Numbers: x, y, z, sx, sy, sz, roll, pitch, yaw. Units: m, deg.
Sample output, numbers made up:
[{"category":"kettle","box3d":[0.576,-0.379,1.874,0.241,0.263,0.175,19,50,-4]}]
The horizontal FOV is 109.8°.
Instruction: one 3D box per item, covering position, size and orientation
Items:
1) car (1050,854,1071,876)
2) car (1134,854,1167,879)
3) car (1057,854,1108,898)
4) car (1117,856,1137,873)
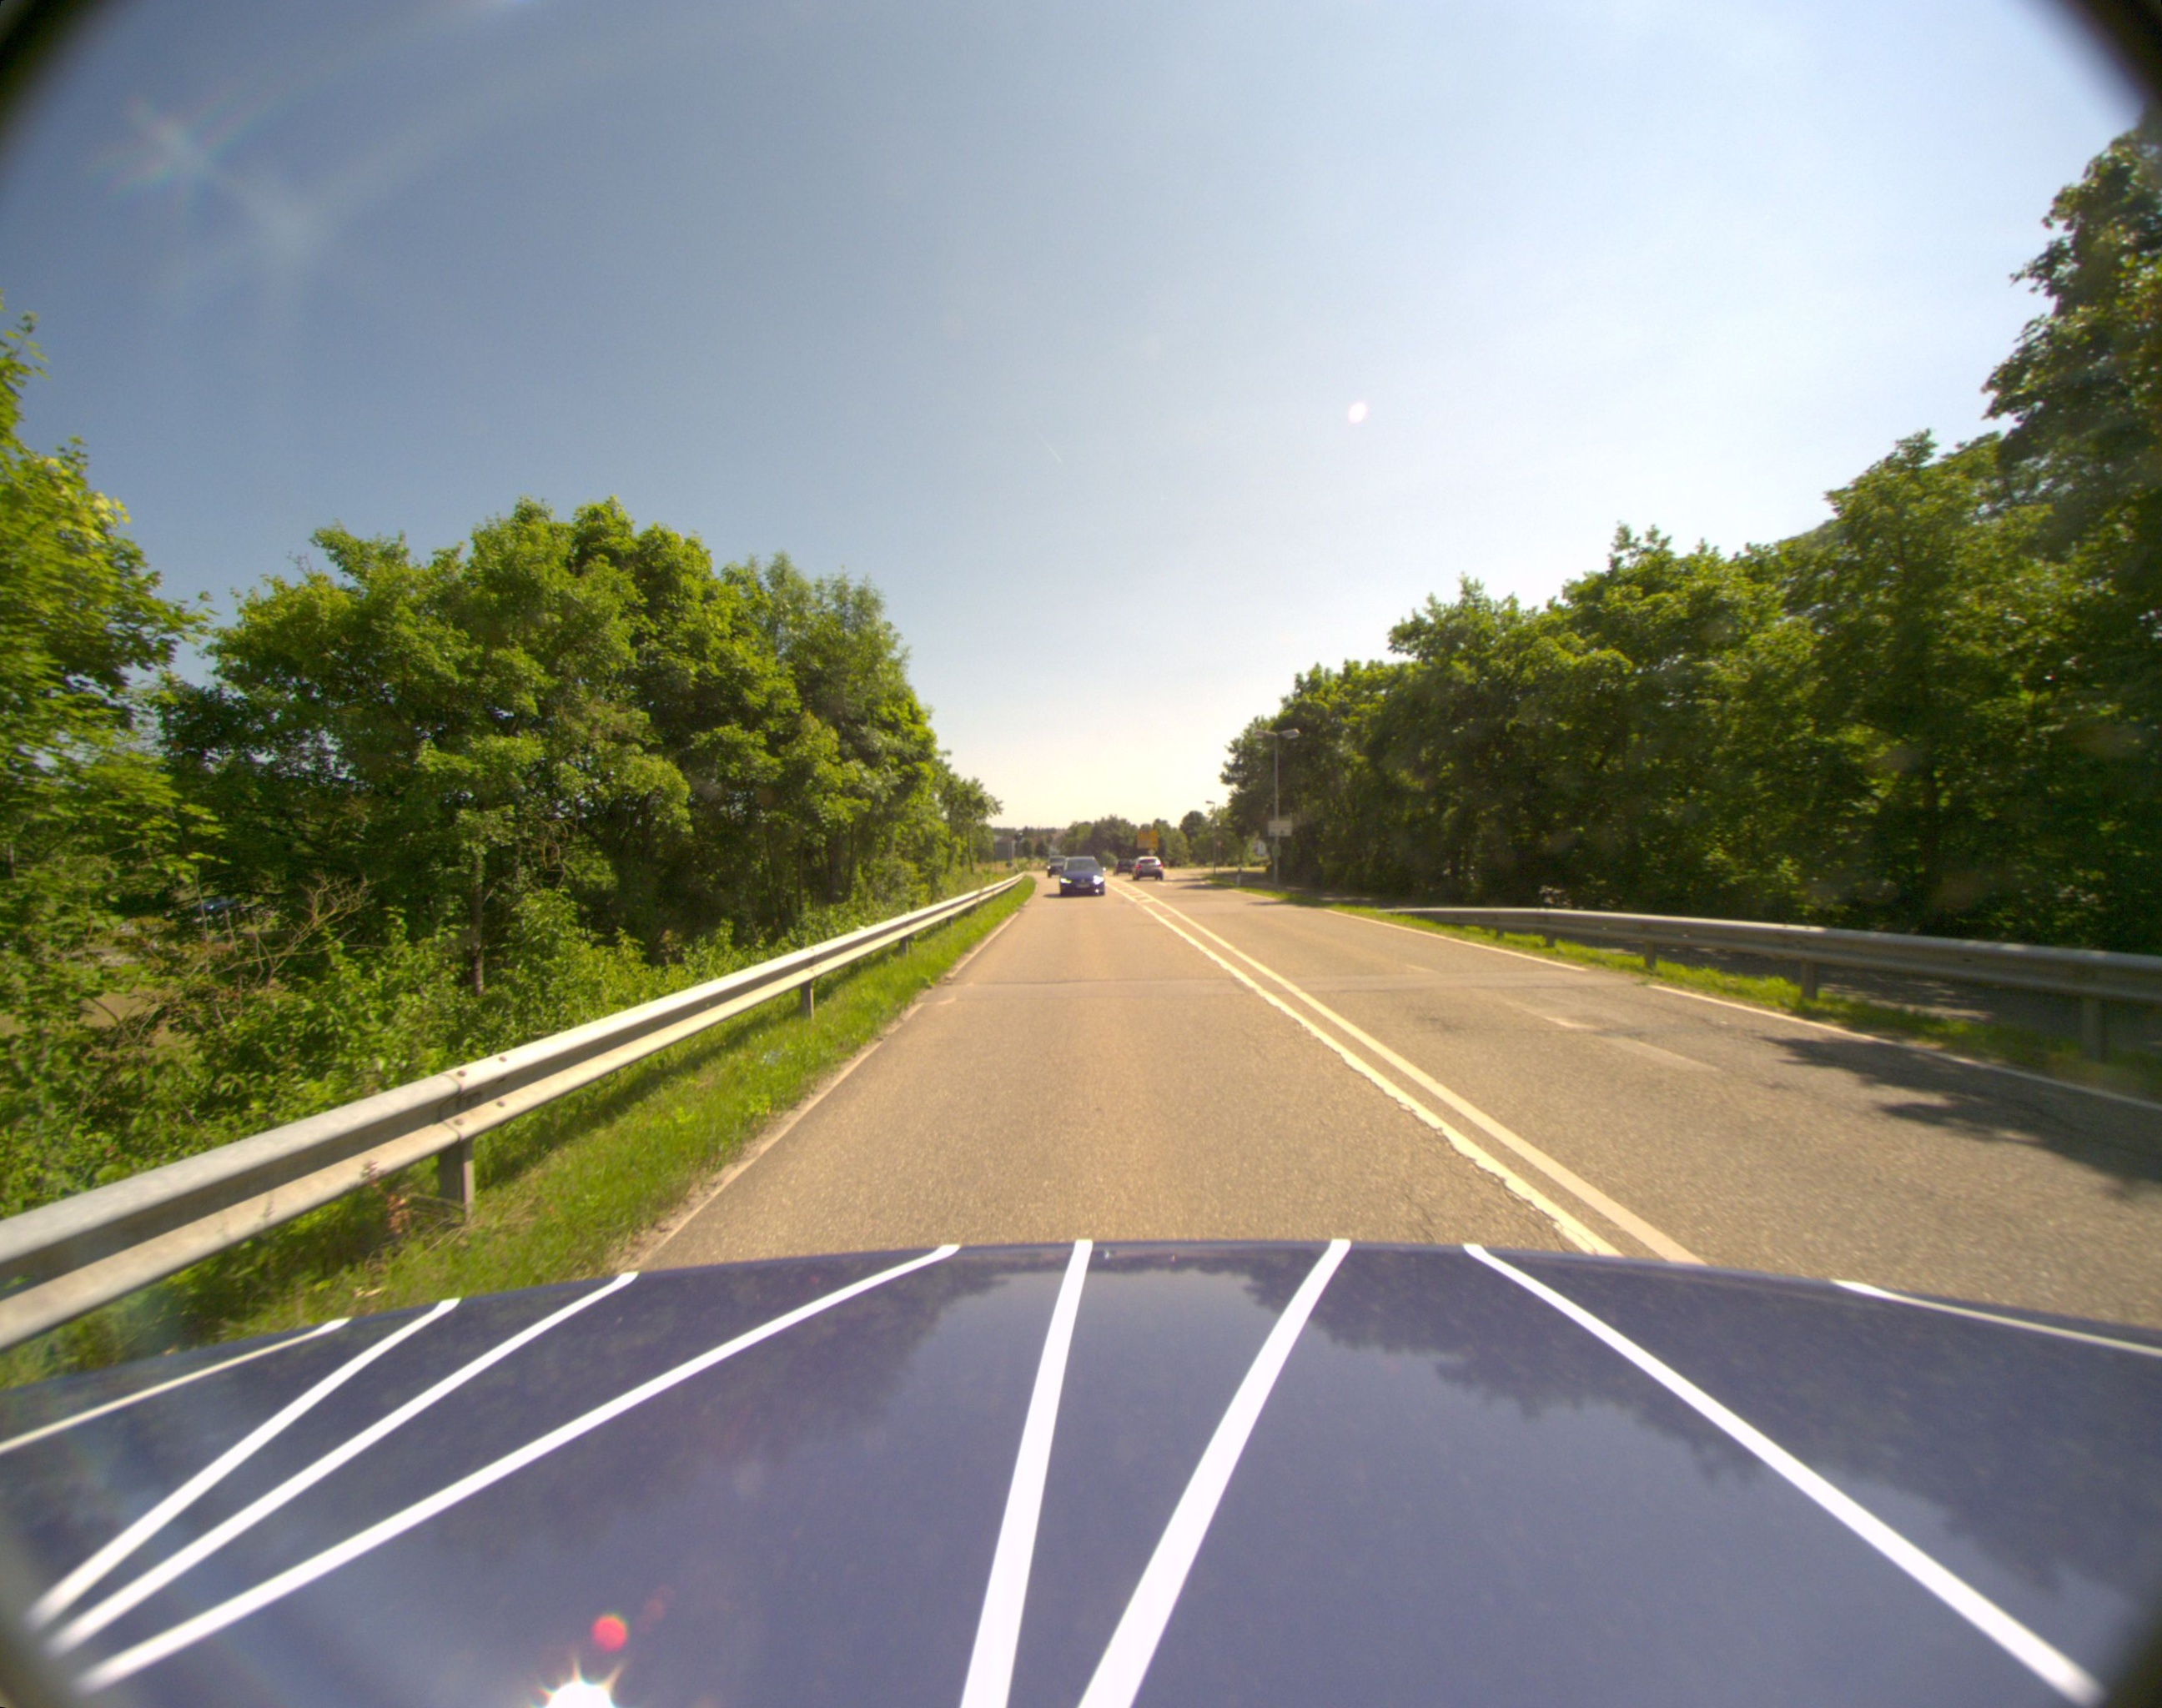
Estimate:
[{"category":"car","box3d":[-1.843,0.987,69.599,1.779,2.006,4.000,1,0,1]},{"category":"car","box3d":[4.432,0.773,48.951,1.744,1.447,3.888,-2,0,1]},{"category":"car","box3d":[0.141,0.841,31.022,1.828,1.591,4.196,-2,0,3]},{"category":"car","box3d":[4.141,0.961,69.094,1.631,1.396,3.433,-2,0,2]}]
